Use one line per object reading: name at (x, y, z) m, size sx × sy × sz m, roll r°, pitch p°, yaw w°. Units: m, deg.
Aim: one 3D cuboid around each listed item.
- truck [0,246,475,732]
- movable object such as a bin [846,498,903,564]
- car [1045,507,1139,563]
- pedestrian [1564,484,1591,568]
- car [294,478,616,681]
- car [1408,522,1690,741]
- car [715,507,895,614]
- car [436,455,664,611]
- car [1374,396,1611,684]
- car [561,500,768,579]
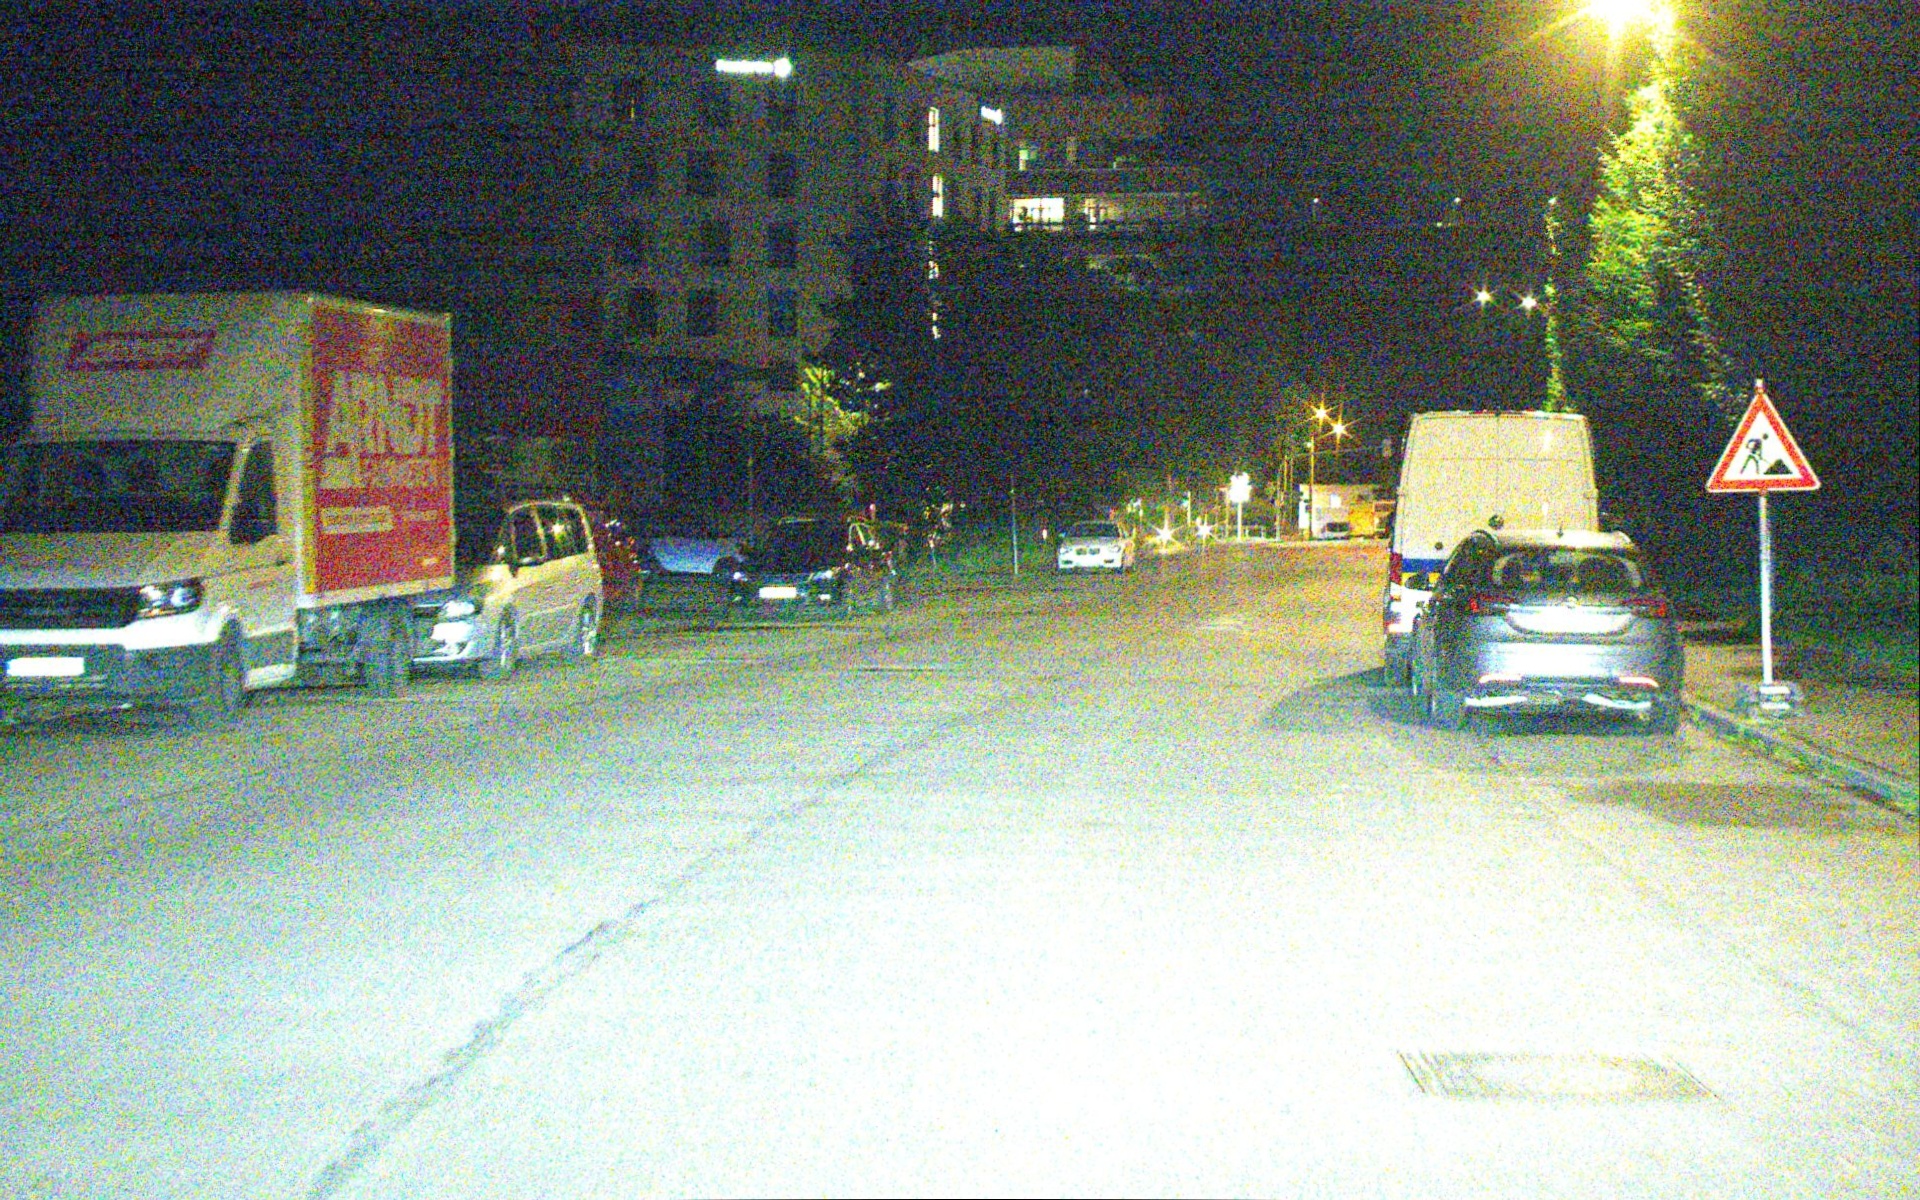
truck at (-6.030, -0.842, 26.926) m, size 2.544 × 3.269 × 7.311 m, roll 0°, pitch 2°, yaw 7°
movable object such as a bin at (-1.944, -1.580, 78.725) m, size 1.164 × 1.490 × 1.065 m, roll 0°, pitch 2°, yaw 6°
car at (3.515, -1.740, 90.903) m, size 1.912 × 1.399 × 4.336 m, roll 0°, pitch 2°, yaw 10°
pedestrian at (13.792, -1.656, 76.795) m, size 0.570 × 1.846 × 0.820 m, roll 0°, pitch 1°, yaw 10°
car at (-4.796, -0.246, 33.378) m, size 1.829 × 1.810 × 4.837 m, roll -1°, pitch 1°, yaw 7°
car at (4.416, 0.171, 26.345) m, size 1.711 × 1.503 × 4.640 m, roll 0°, pitch 2°, yaw 5°
car at (-2.270, -0.601, 51.463) m, size 1.756 × 1.521 × 4.320 m, roll 1°, pitch 1°, yaw 10°
car at (-6.471, -1.096, 54.895) m, size 1.994 × 2.313 × 4.964 m, roll -2°, pitch 1°, yaw 13°
car at (5.130, -0.618, 33.401) m, size 2.021 × 2.518 × 6.050 m, roll 1°, pitch 2°, yaw 8°
car at (-6.181, -1.283, 72.088) m, size 3.988 × 1.565 × 1.817 m, roll -1°, pitch 1°, yaw 9°
